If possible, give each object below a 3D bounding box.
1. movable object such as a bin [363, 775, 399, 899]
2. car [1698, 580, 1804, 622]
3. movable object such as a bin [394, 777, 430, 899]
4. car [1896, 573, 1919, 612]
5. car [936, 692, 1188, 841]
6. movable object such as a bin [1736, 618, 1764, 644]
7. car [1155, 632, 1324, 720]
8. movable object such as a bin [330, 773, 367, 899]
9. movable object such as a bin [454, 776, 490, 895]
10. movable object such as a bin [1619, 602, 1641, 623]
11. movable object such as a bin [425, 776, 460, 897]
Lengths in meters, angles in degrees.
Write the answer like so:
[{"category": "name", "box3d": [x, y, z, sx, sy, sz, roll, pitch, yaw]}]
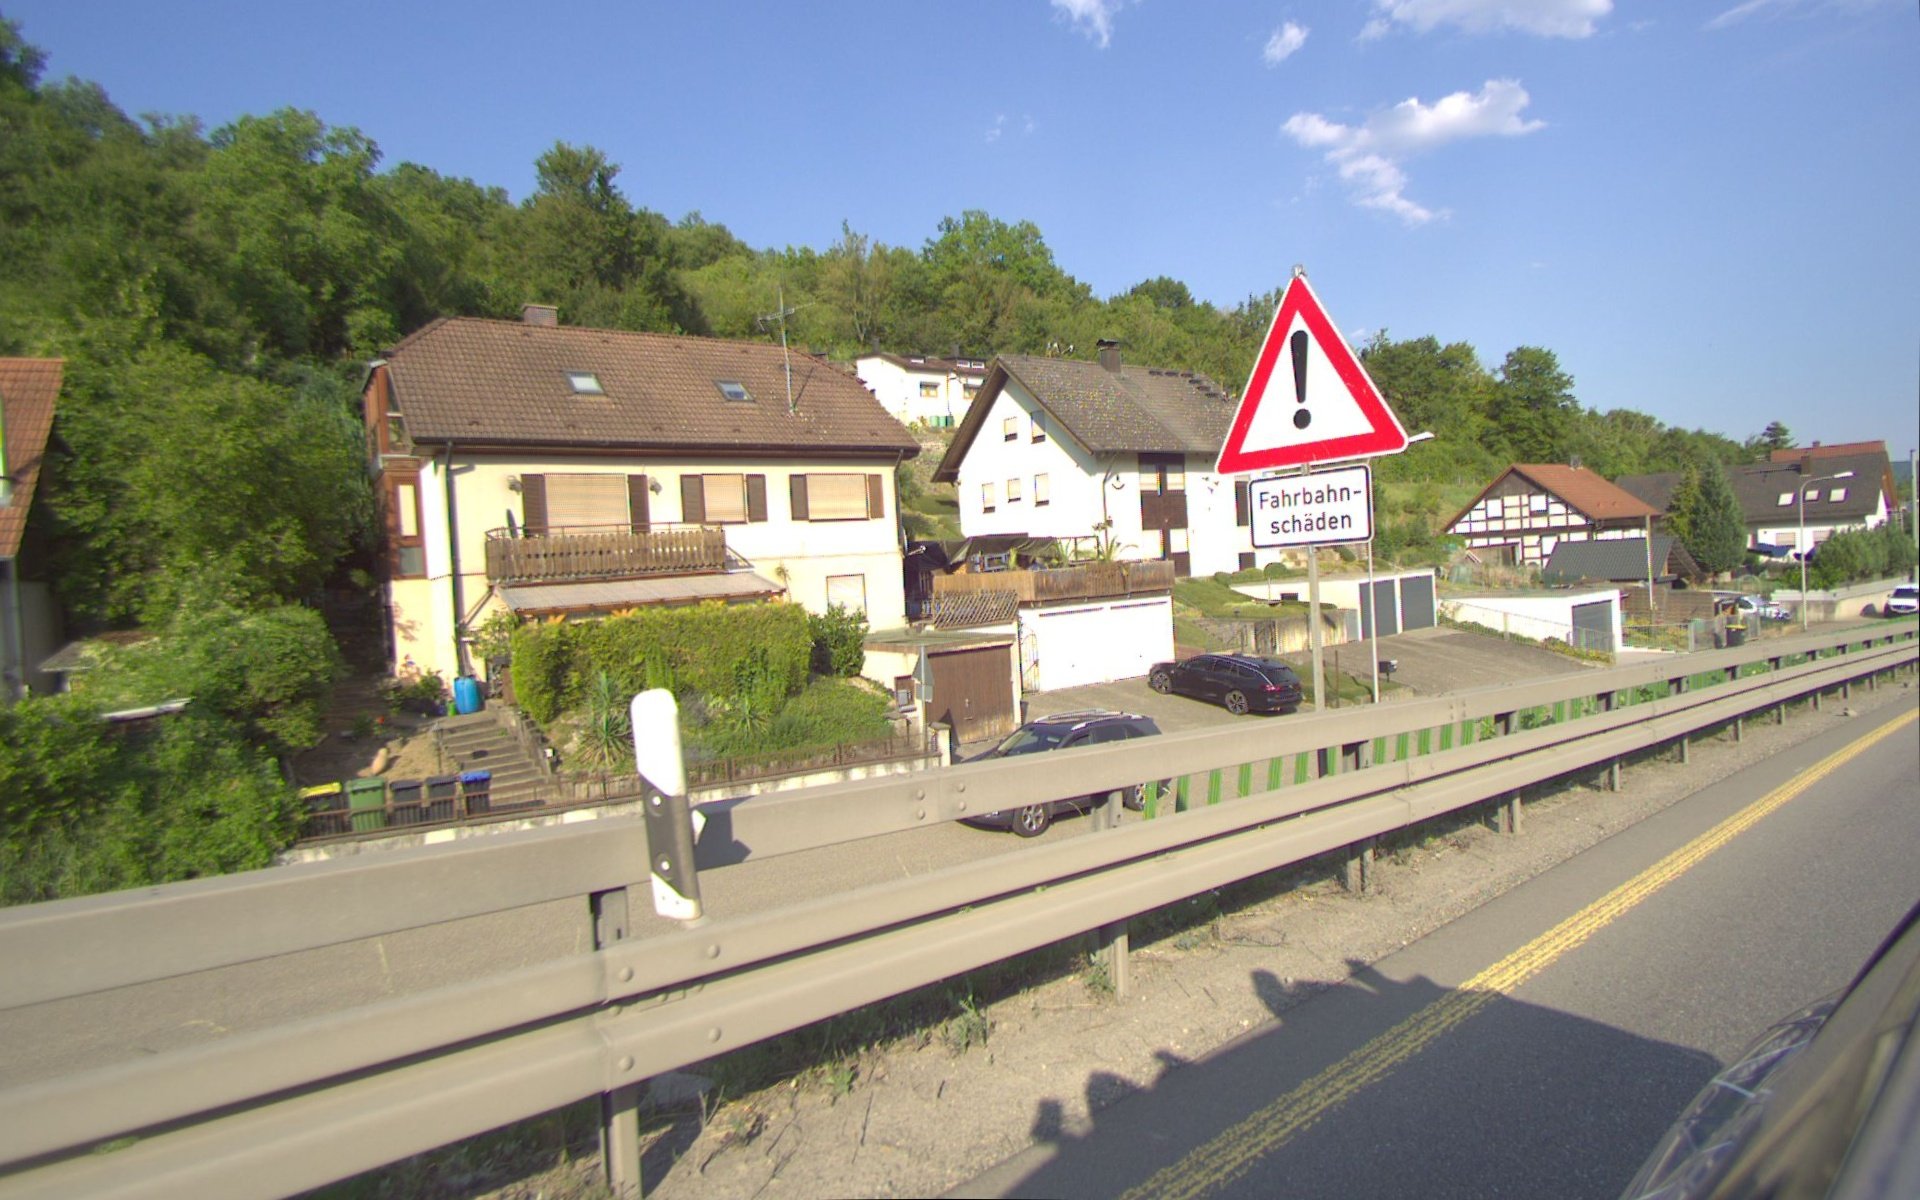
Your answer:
[{"category": "movable object such as a bin", "box3d": [-8.927, 3.628, 15.602, 0.400, 1.794, 0.537, -3, -7, -30]}, {"category": "car", "box3d": [40.850, 0.002, 52.343, 1.718, 1.860, 4.001, -3, 5, -36]}, {"category": "movable object such as a bin", "box3d": [-8.556, 3.694, 15.799, 0.406, 1.794, 0.491, -3, -7, -30]}, {"category": "car", "box3d": [52.133, -0.449, 54.557, 4.208, 1.966, 1.824, -3, 2, -39]}, {"category": "car", "box3d": [1.926, 2.912, 18.560, 4.414, 1.806, 1.869, -3, 3, -34]}, {"category": "movable object such as a bin", "box3d": [32.607, 1.270, 41.774, 0.665, 1.013, 0.724, -1, 0, -37]}, {"category": "car", "box3d": [7.976, 2.097, 29.304, 1.962, 1.542, 4.515, -3, 9, -33]}, {"category": "movable object such as a bin", "box3d": [-9.303, 3.562, 15.403, 0.408, 1.794, 0.531, -3, -7, -30]}, {"category": "movable object such as a bin", "box3d": [-7.826, 3.755, 16.225, 0.406, 1.794, 0.491, -3, -7, -30]}, {"category": "movable object such as a bin", "box3d": [31.129, 0.563, 47.021, 0.667, 0.912, 0.688, -1, 2, -39]}, {"category": "movable object such as a bin", "box3d": [-8.187, 3.713, 16.002, 0.406, 1.794, 0.491, -3, -7, -30]}]
